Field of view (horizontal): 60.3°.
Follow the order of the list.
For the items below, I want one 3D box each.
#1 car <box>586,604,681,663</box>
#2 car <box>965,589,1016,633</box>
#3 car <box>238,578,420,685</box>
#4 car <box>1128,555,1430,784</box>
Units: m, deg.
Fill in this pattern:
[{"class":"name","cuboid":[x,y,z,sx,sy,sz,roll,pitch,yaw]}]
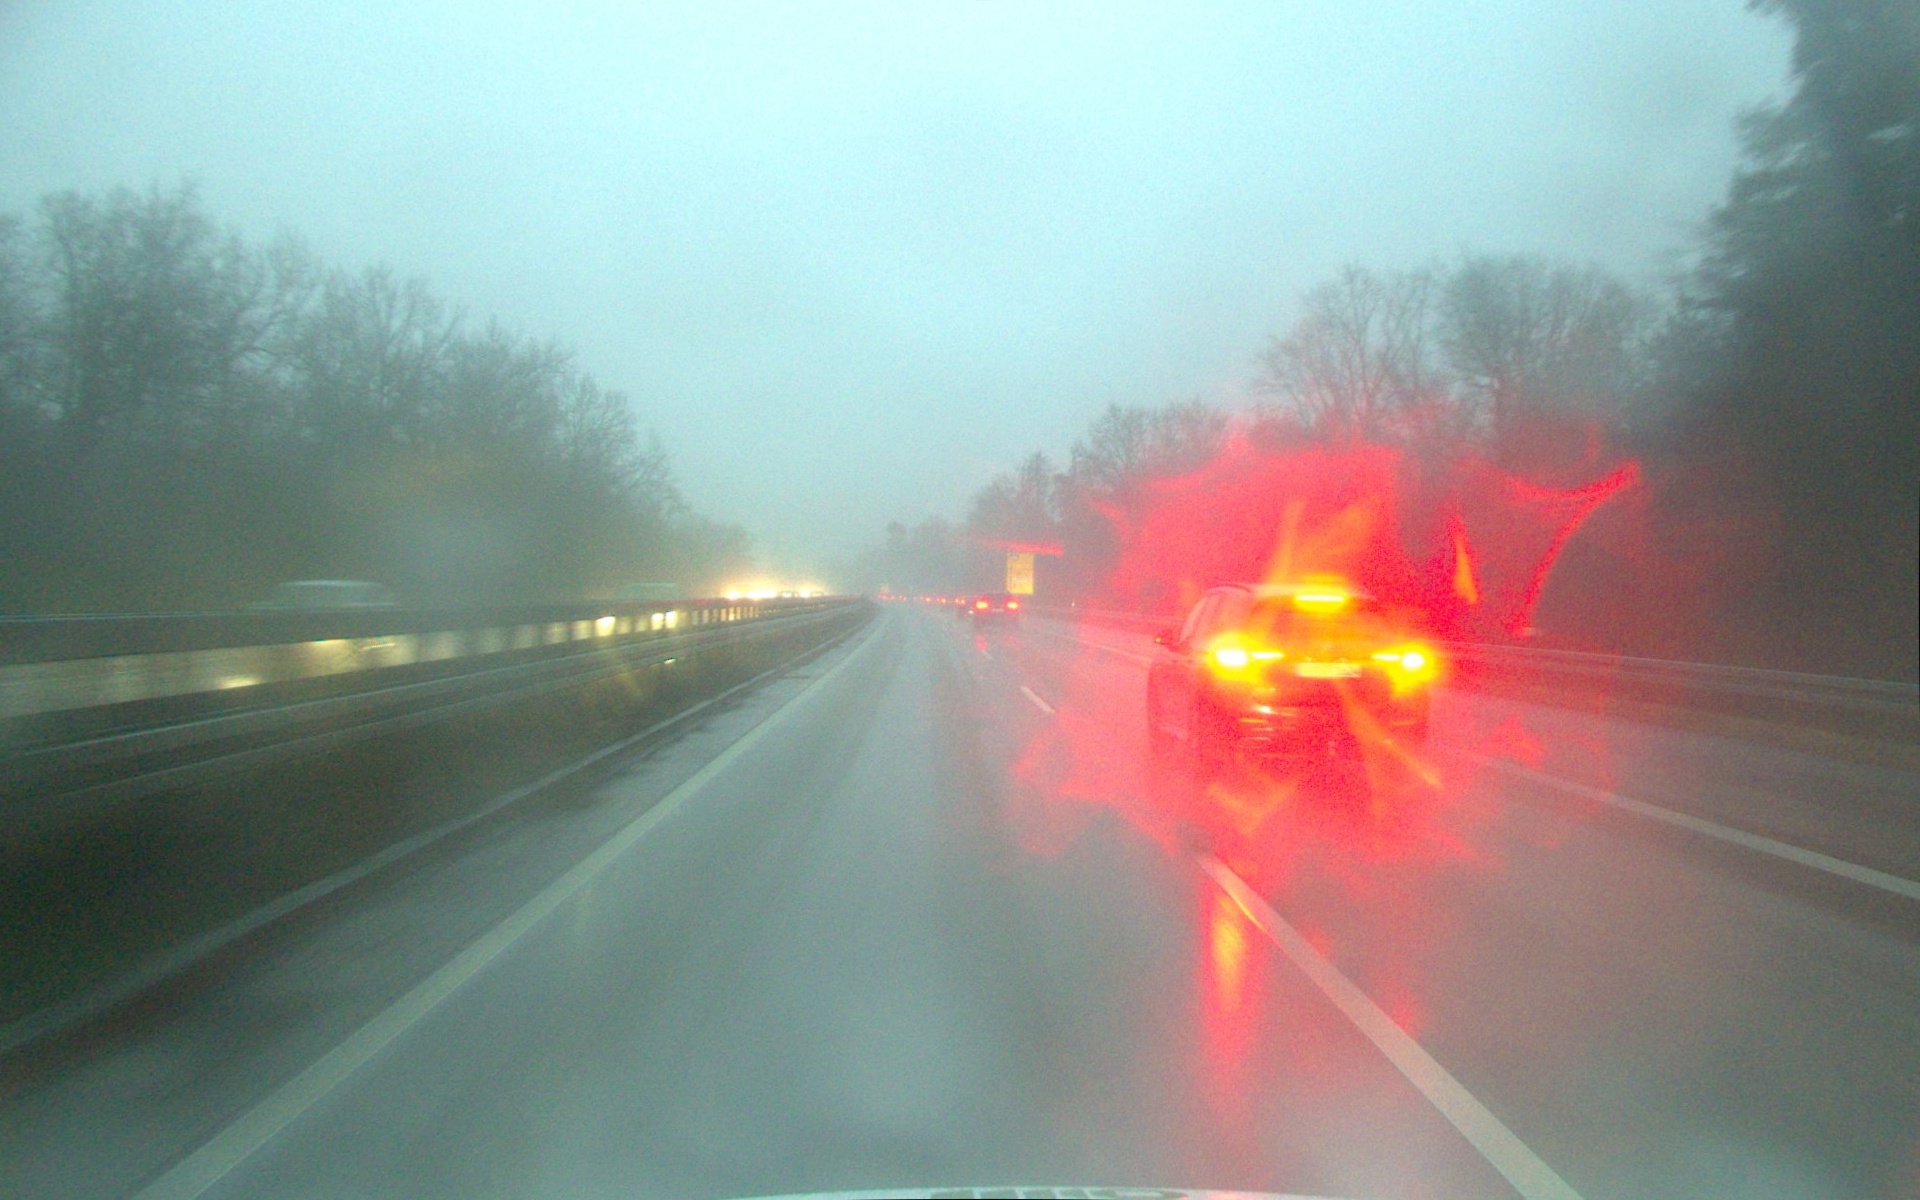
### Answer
[{"class":"car","cuboid":[-8.263,0.818,42.185,1.511,1.420,4.123,1,0,1]},{"class":"car","cuboid":[1.231,0.458,69.223,1.952,1.745,3.829,1,0,-1]},{"class":"car","cuboid":[-11.337,0.540,30.053,1.685,1.778,4.424,1,0,-1]},{"class":"car","cuboid":[2.775,0.570,15.287,1.885,1.823,3.939,1,0,-2]}]
